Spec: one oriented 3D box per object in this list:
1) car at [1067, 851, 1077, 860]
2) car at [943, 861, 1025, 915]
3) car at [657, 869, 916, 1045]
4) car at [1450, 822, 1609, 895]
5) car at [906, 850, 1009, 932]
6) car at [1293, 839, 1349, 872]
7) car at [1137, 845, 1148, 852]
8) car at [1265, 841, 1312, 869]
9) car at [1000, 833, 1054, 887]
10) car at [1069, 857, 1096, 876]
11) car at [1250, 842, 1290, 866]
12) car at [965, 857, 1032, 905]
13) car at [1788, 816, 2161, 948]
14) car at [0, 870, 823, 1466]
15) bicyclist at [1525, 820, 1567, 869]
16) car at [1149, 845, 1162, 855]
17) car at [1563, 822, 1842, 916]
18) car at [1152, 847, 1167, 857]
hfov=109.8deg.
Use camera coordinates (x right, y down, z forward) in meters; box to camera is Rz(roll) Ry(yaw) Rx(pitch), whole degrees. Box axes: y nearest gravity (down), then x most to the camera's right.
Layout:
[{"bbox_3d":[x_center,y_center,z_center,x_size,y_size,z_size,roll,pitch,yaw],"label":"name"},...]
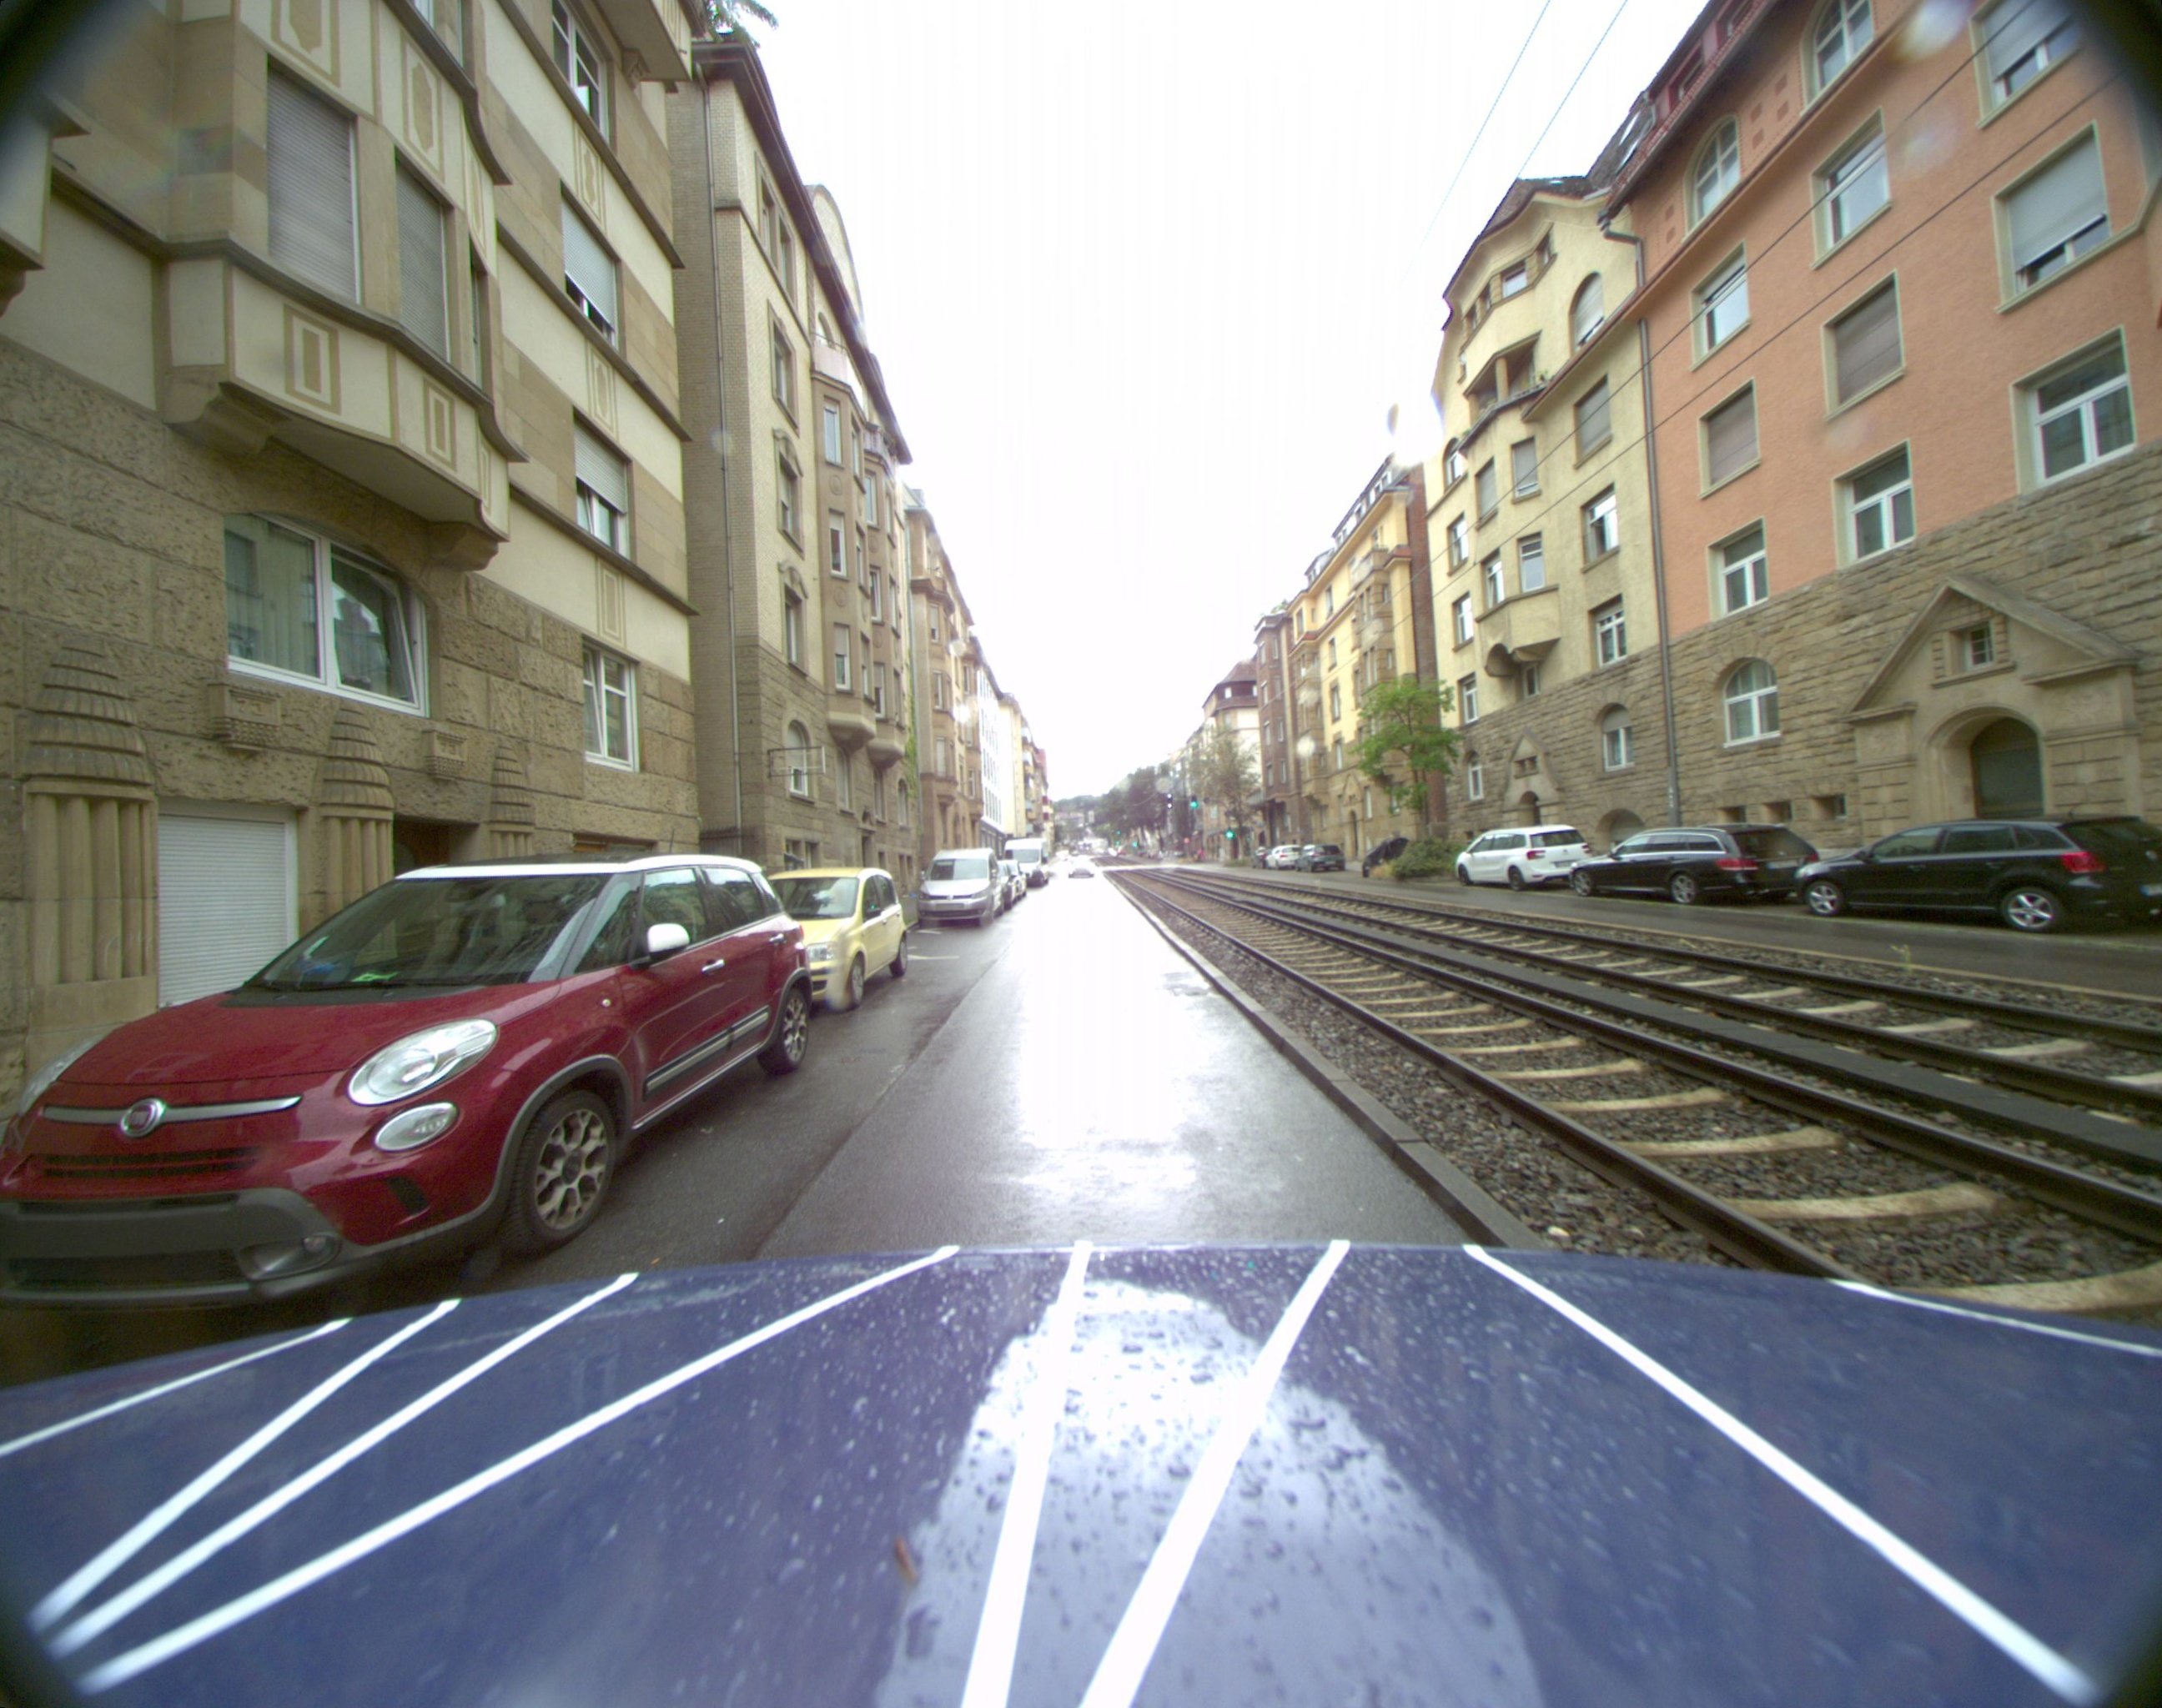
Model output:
[{"bbox_3d":[-1.609,0.312,138.378,1.794,1.459,4.257,-2,1,1],"label":"car"},{"bbox_3d":[-2.925,1.001,23.808,1.931,1.380,3.982,-3,0,1],"label":"car"},{"bbox_3d":[-3.194,1.020,9.022,1.632,1.502,3.531,-3,0,-1],"label":"car"},{"bbox_3d":[12.223,0.094,21.076,1.759,1.663,4.259,-5,1,0],"label":"car"},{"bbox_3d":[-2.954,0.821,18.991,1.811,1.758,3.962,-2,0,1],"label":"car"},{"bbox_3d":[12.487,0.048,39.734,1.717,1.473,3.712,-5,1,2],"label":"car"},{"bbox_3d":[12.782,-1.089,157.586,1.794,1.339,4.257,-2,1,0],"label":"car"},{"bbox_3d":[12.430,0.042,45.796,1.759,1.443,4.043,-5,1,2],"label":"car"},{"bbox_3d":[-2.717,0.289,39.971,1.991,2.520,6.155,-3,0,3],"label":"car"},{"bbox_3d":[0.151,0.819,51.241,1.737,1.262,4.258,0,0,1],"label":"car"},{"bbox_3d":[12.565,-0.032,50.778,1.759,1.419,3.712,-5,1,2],"label":"car"},{"bbox_3d":[-2.998,0.944,28.477,1.935,1.516,4.058,-3,0,1],"label":"car"},{"bbox_3d":[12.441,0.290,10.507,1.760,1.396,3.694,-5,1,-2],"label":"car"},{"bbox_3d":[-2.986,0.958,4.183,1.774,1.592,3.999,-1,0,-1],"label":"car"},{"bbox_3d":[15.566,-0.318,25.432,0.894,1.592,0.774,-2,1,1],"label":"bicyclist"},{"bbox_3d":[12.428,-0.678,127.149,1.794,1.609,4.257,-2,1,0],"label":"car"},{"bbox_3d":[12.200,0.237,15.413,1.760,1.482,4.597,-4,1,-1],"label":"car"},{"bbox_3d":[11.926,-0.287,115.562,1.794,1.339,4.257,-2,1,0],"label":"car"}]
